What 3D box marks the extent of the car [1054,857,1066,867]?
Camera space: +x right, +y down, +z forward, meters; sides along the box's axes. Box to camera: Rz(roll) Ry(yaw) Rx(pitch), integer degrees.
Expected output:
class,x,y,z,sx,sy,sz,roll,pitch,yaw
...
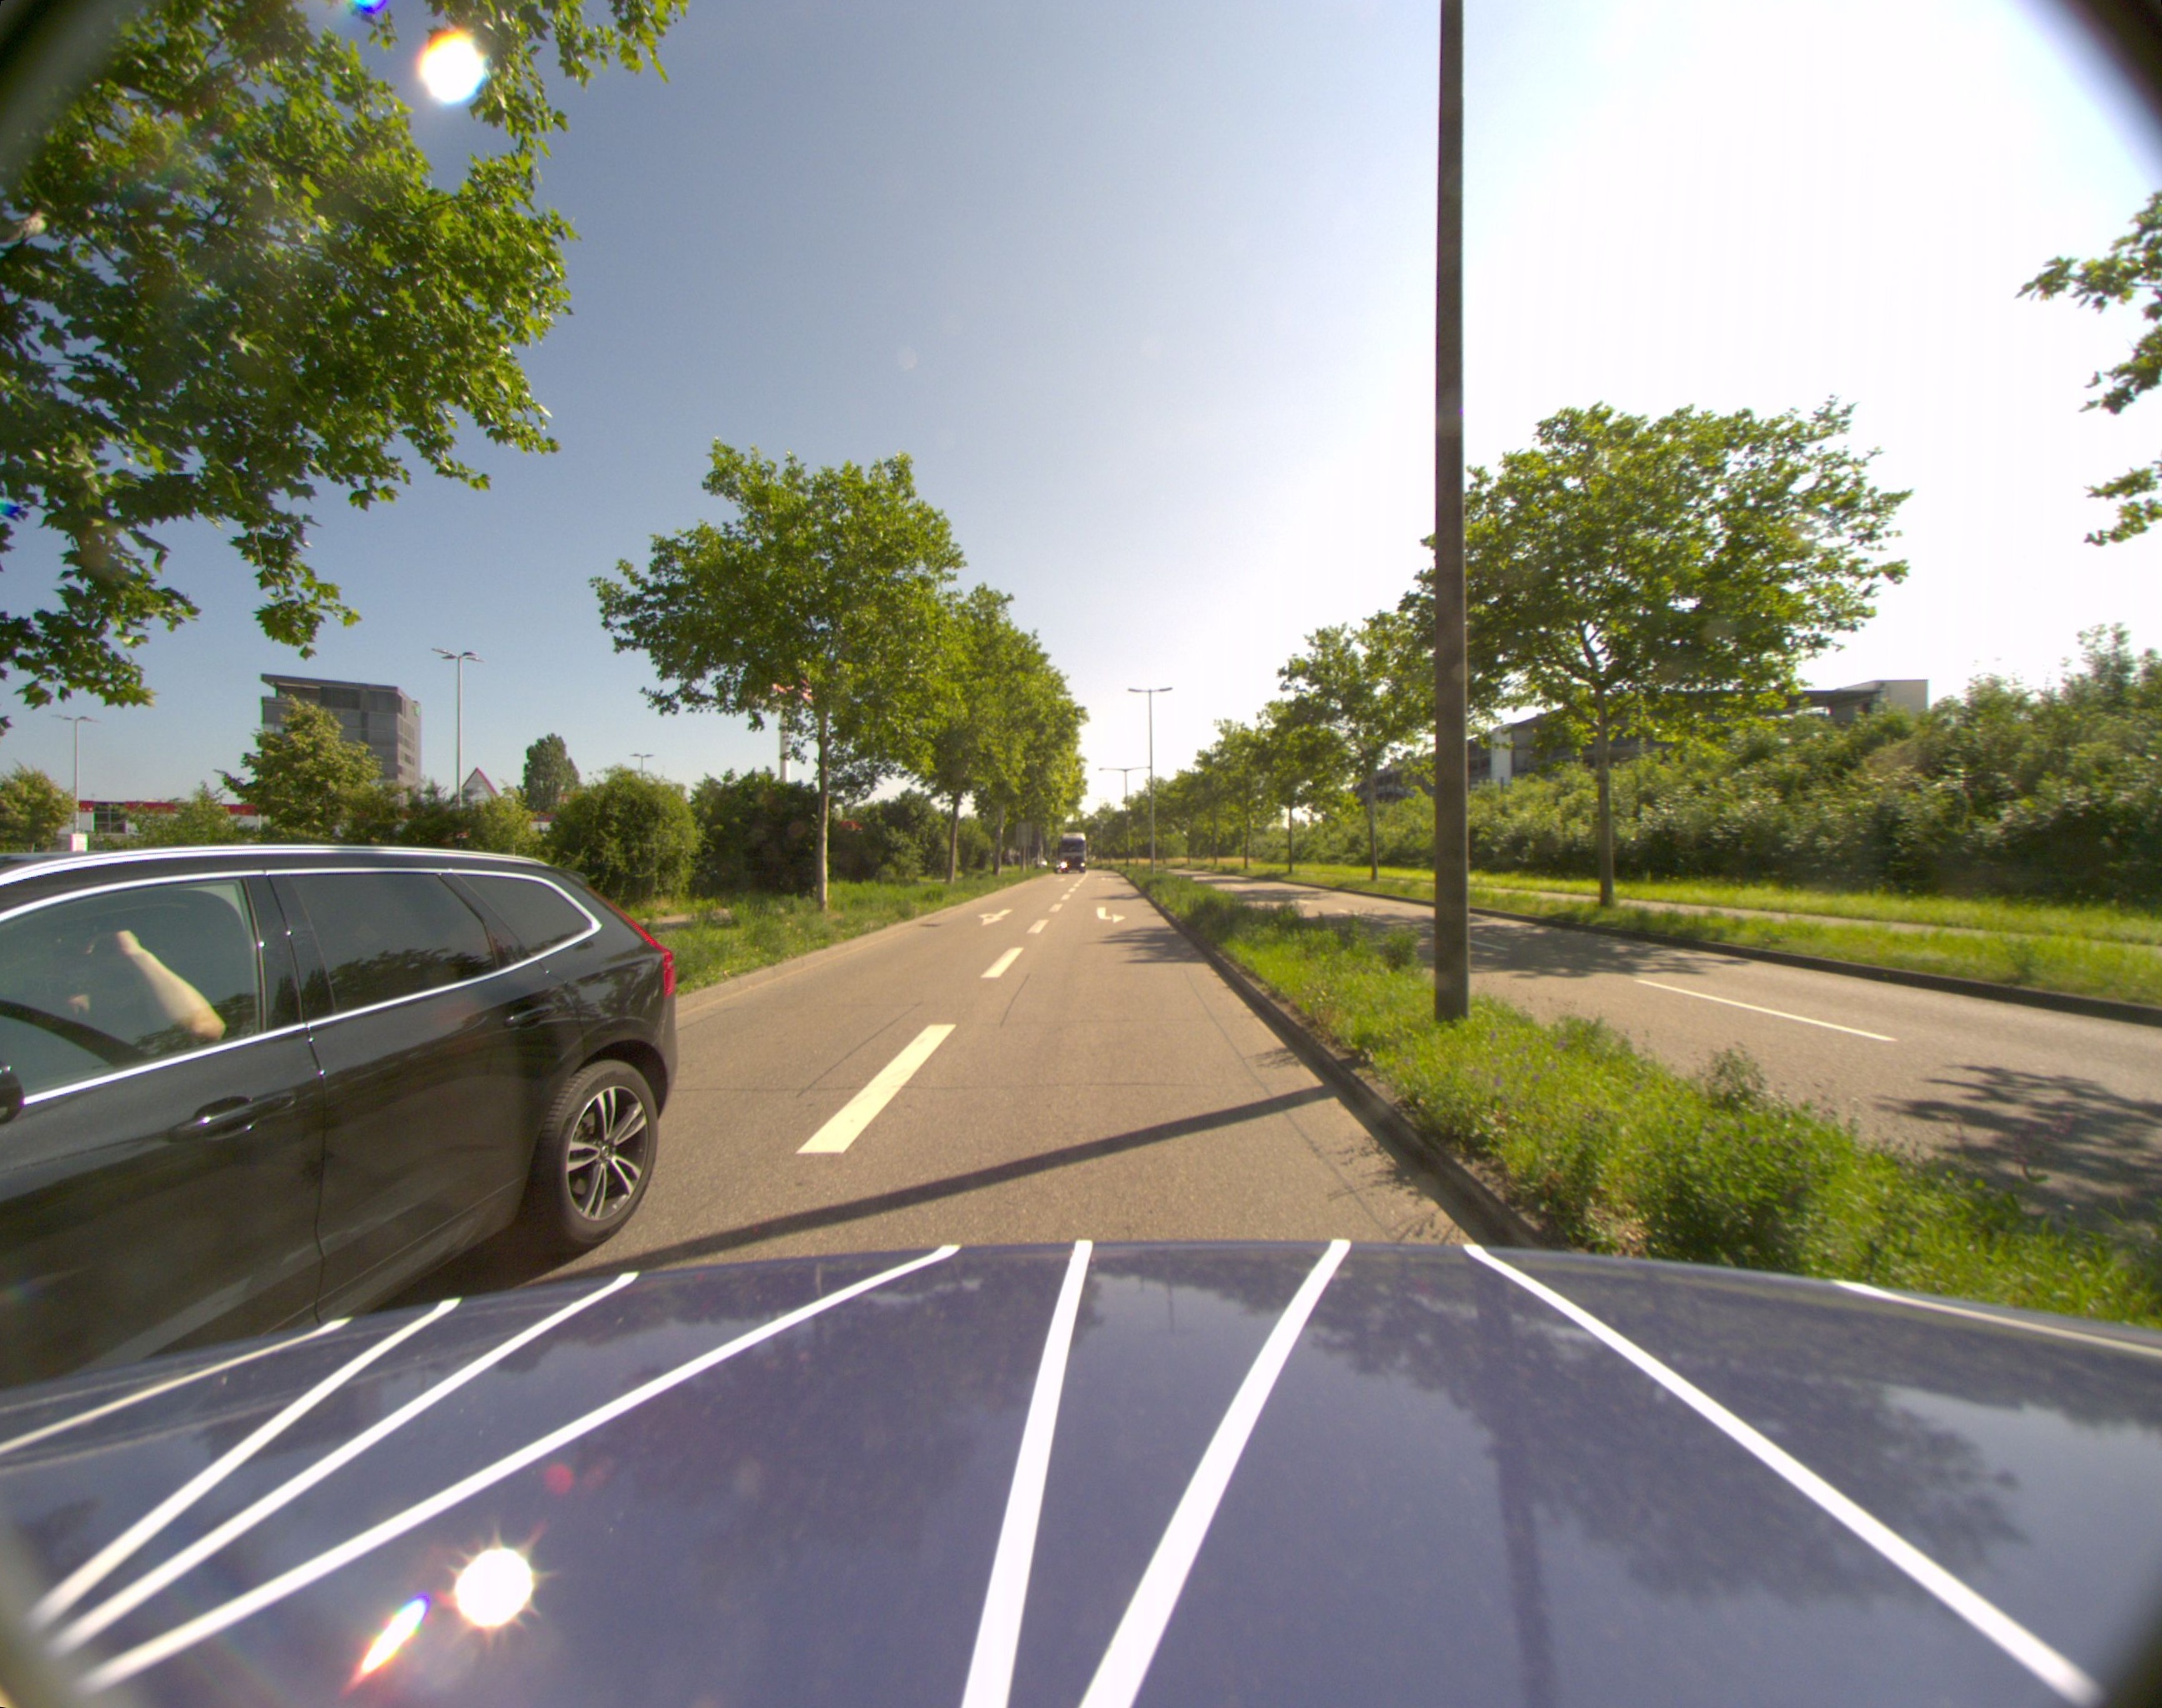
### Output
class,x,y,z,sx,sy,sz,roll,pitch,yaw
car,-2.964,1.087,107.227,1.509,1.349,3.313,-2,1,-1

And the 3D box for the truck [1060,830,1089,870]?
class,x,y,z,sx,sy,sz,roll,pitch,yaw
truck,-0.589,-0.402,76.523,2.741,3.872,5.851,-2,1,0

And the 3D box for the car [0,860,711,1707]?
class,x,y,z,sx,sy,sz,roll,pitch,yaw
car,-2.895,0.881,1.576,1.924,1.613,4.564,-2,1,1
